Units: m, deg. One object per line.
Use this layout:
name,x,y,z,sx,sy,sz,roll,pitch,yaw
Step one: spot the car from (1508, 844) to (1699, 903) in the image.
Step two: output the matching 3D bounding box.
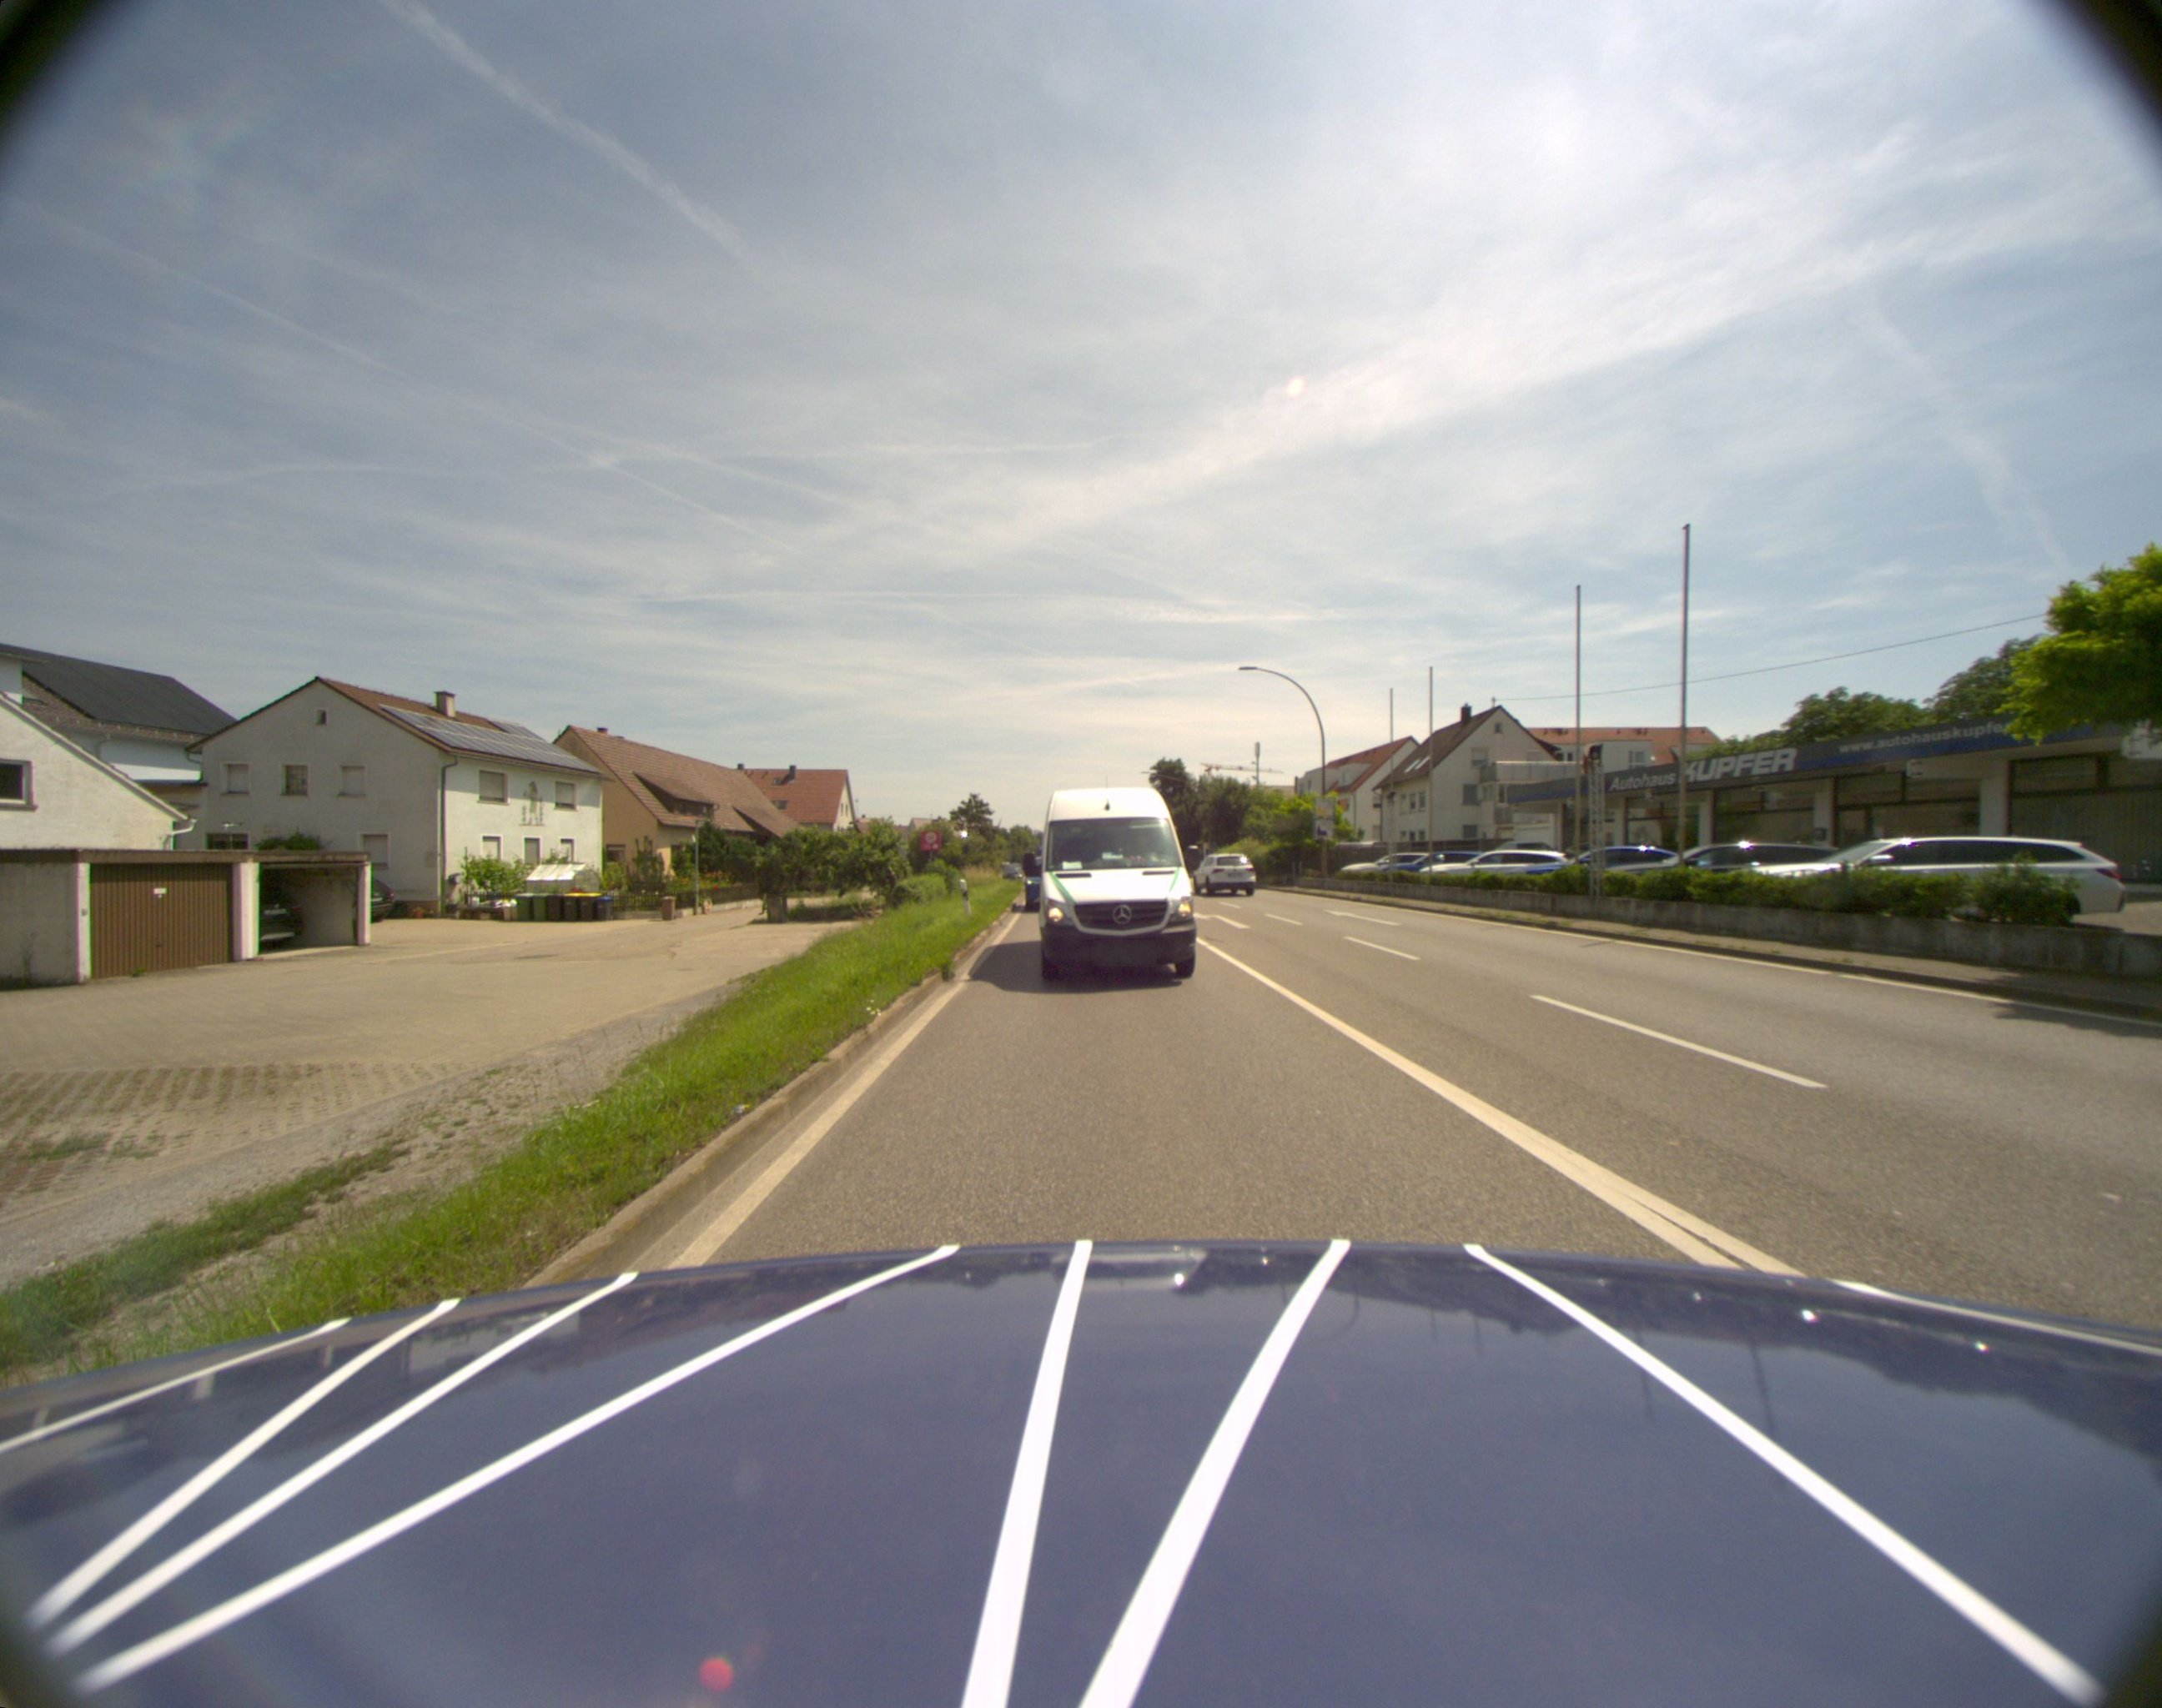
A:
car,13.923,0.530,20.558,3.990,1.433,1.857,-2,0,25

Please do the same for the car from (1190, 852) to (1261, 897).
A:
car,5.818,0.786,31.174,1.851,1.645,4.402,-2,0,-3

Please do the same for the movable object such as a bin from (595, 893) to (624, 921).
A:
movable object such as a bin,-18.769,2.113,30.277,0.645,1.021,0.756,-2,0,-1

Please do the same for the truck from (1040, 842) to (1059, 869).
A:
truck,-4.647,0.255,113.434,2.506,3.847,5.497,-2,0,-1

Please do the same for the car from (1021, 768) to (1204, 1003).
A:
car,0.336,0.369,11.399,1.978,2.583,5.633,-2,0,-1

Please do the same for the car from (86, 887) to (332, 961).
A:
car,-21.583,1.700,18.925,3.997,1.594,1.826,-1,0,1

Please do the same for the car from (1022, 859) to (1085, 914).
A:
car,-0.826,0.954,24.110,1.824,1.574,3.901,-1,0,-1

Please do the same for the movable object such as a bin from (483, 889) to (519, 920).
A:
movable object such as a bin,-23.043,1.985,30.213,0.740,1.149,0.830,-2,0,-1

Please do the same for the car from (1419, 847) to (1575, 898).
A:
car,13.541,0.624,24.993,4.303,1.510,2.003,-2,0,27

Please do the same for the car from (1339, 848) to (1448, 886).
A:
car,13.664,0.571,33.254,4.255,1.521,2.003,-2,0,26

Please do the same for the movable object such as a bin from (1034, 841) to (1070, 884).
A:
movable object such as a bin,-1.887,0.548,51.182,1.998,2.710,5.419,-2,0,1

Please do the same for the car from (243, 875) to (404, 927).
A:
car,-27.486,1.669,27.669,3.997,1.724,1.828,0,1,0

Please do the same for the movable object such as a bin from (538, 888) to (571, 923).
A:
movable object such as a bin,-21.115,2.071,30.492,0.678,1.330,0.820,-2,0,-1

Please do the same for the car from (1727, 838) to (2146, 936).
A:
car,14.063,0.531,12.907,4.329,1.451,1.858,-2,0,24

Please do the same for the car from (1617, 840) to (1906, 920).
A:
car,14.375,0.569,16.410,4.251,1.536,1.853,-2,0,23

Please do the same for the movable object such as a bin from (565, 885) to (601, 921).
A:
movable object such as a bin,-19.779,1.939,30.188,0.765,1.362,0.946,-2,0,-1

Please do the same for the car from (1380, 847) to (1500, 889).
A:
car,13.761,0.552,29.243,3.990,1.455,2.003,-2,0,26

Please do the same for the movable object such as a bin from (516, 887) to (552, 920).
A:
movable object such as a bin,-22.038,1.987,30.612,0.745,1.239,0.889,-2,0,-1
